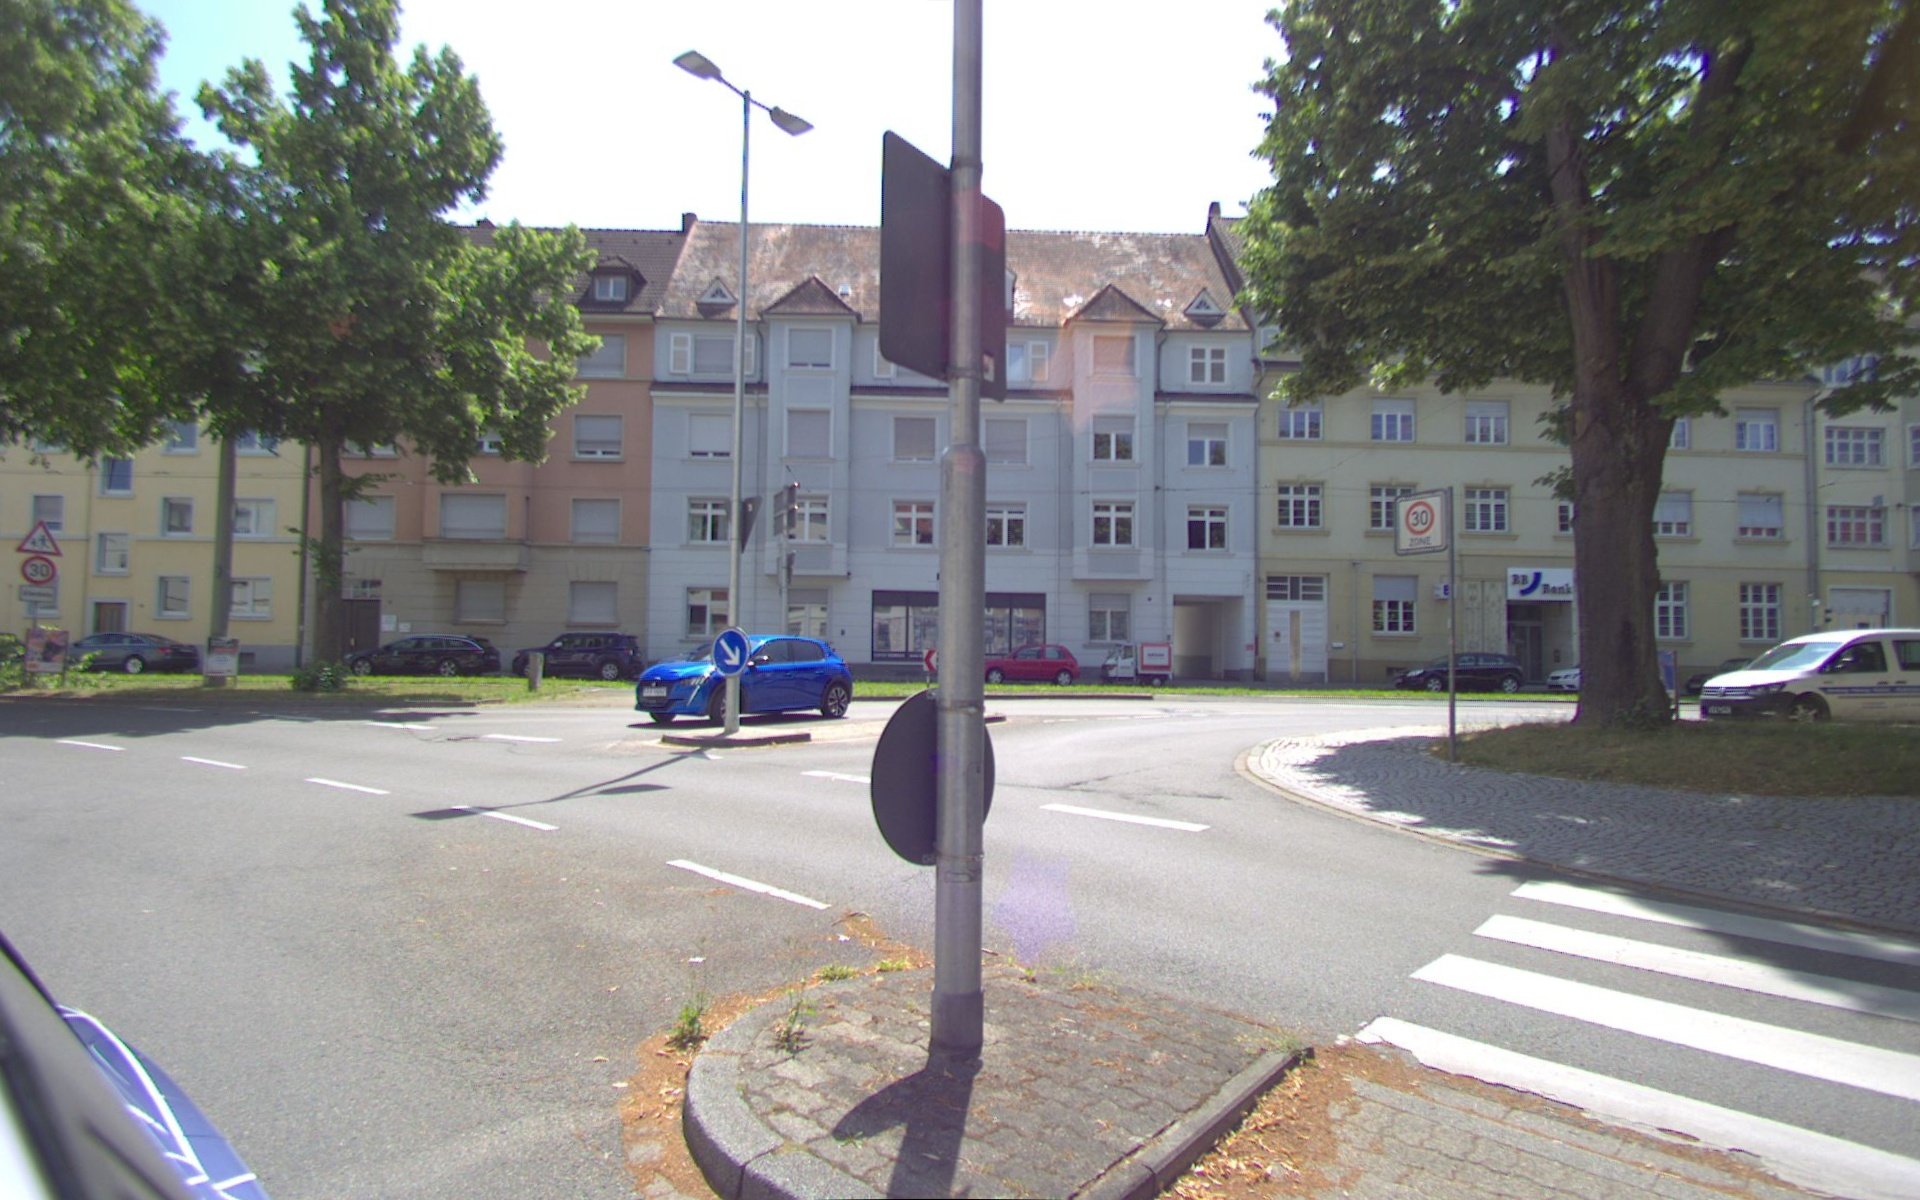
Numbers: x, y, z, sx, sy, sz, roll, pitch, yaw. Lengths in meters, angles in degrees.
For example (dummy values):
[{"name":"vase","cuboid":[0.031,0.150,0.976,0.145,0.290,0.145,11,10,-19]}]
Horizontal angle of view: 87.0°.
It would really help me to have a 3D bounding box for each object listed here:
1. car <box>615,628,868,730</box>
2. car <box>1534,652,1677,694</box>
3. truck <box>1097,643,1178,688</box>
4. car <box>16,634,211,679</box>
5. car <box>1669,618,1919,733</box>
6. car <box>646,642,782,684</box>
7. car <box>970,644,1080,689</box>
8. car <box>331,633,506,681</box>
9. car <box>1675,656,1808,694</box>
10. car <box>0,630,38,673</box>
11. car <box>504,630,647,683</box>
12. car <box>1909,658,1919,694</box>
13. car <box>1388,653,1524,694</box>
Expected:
[{"name":"car","cuboid":[-3.547,1.248,17.017,1.812,1.503,3.949,-2,-3,37]},{"name":"car","cuboid":[22.267,2.535,34.988,3.801,1.401,1.692,0,-5,-2]},{"name":"truck","cuboid":[6.102,2.272,34.925,2.556,1.506,1.130,1,-5,-3]},{"name":"car","cuboid":[-28.053,1.901,33.674,4.794,1.409,1.934,0,-5,0]},{"name":"car","cuboid":[15.141,1.274,17.472,4.358,1.840,2.001,0,-3,-2]},{"name":"car","cuboid":[-8.257,2.147,34.288,4.188,1.367,1.813,0,-5,-2]},{"name":"car","cuboid":[2.175,2.274,34.531,3.573,1.462,1.577,0,-5,-2]},{"name":"car","cuboid":[-18.051,1.932,33.906,4.793,1.502,1.934,0,-5,-2]},{"name":"car","cuboid":[27.180,2.624,35.250,3.241,1.288,1.692,0,-5,-2]},{"name":"car","cuboid":[-33.530,1.709,33.595,4.082,1.411,1.837,0,-4,-1]},{"name":"car","cuboid":[-12.908,1.922,34.160,4.082,1.698,1.843,0,-5,-2]},{"name":"car","cuboid":[36.134,2.672,35.454,4.202,1.288,1.647,0,-5,-2]},{"name":"car","cuboid":[17.023,2.536,34.849,3.801,1.370,1.692,0,-5,-2]}]
